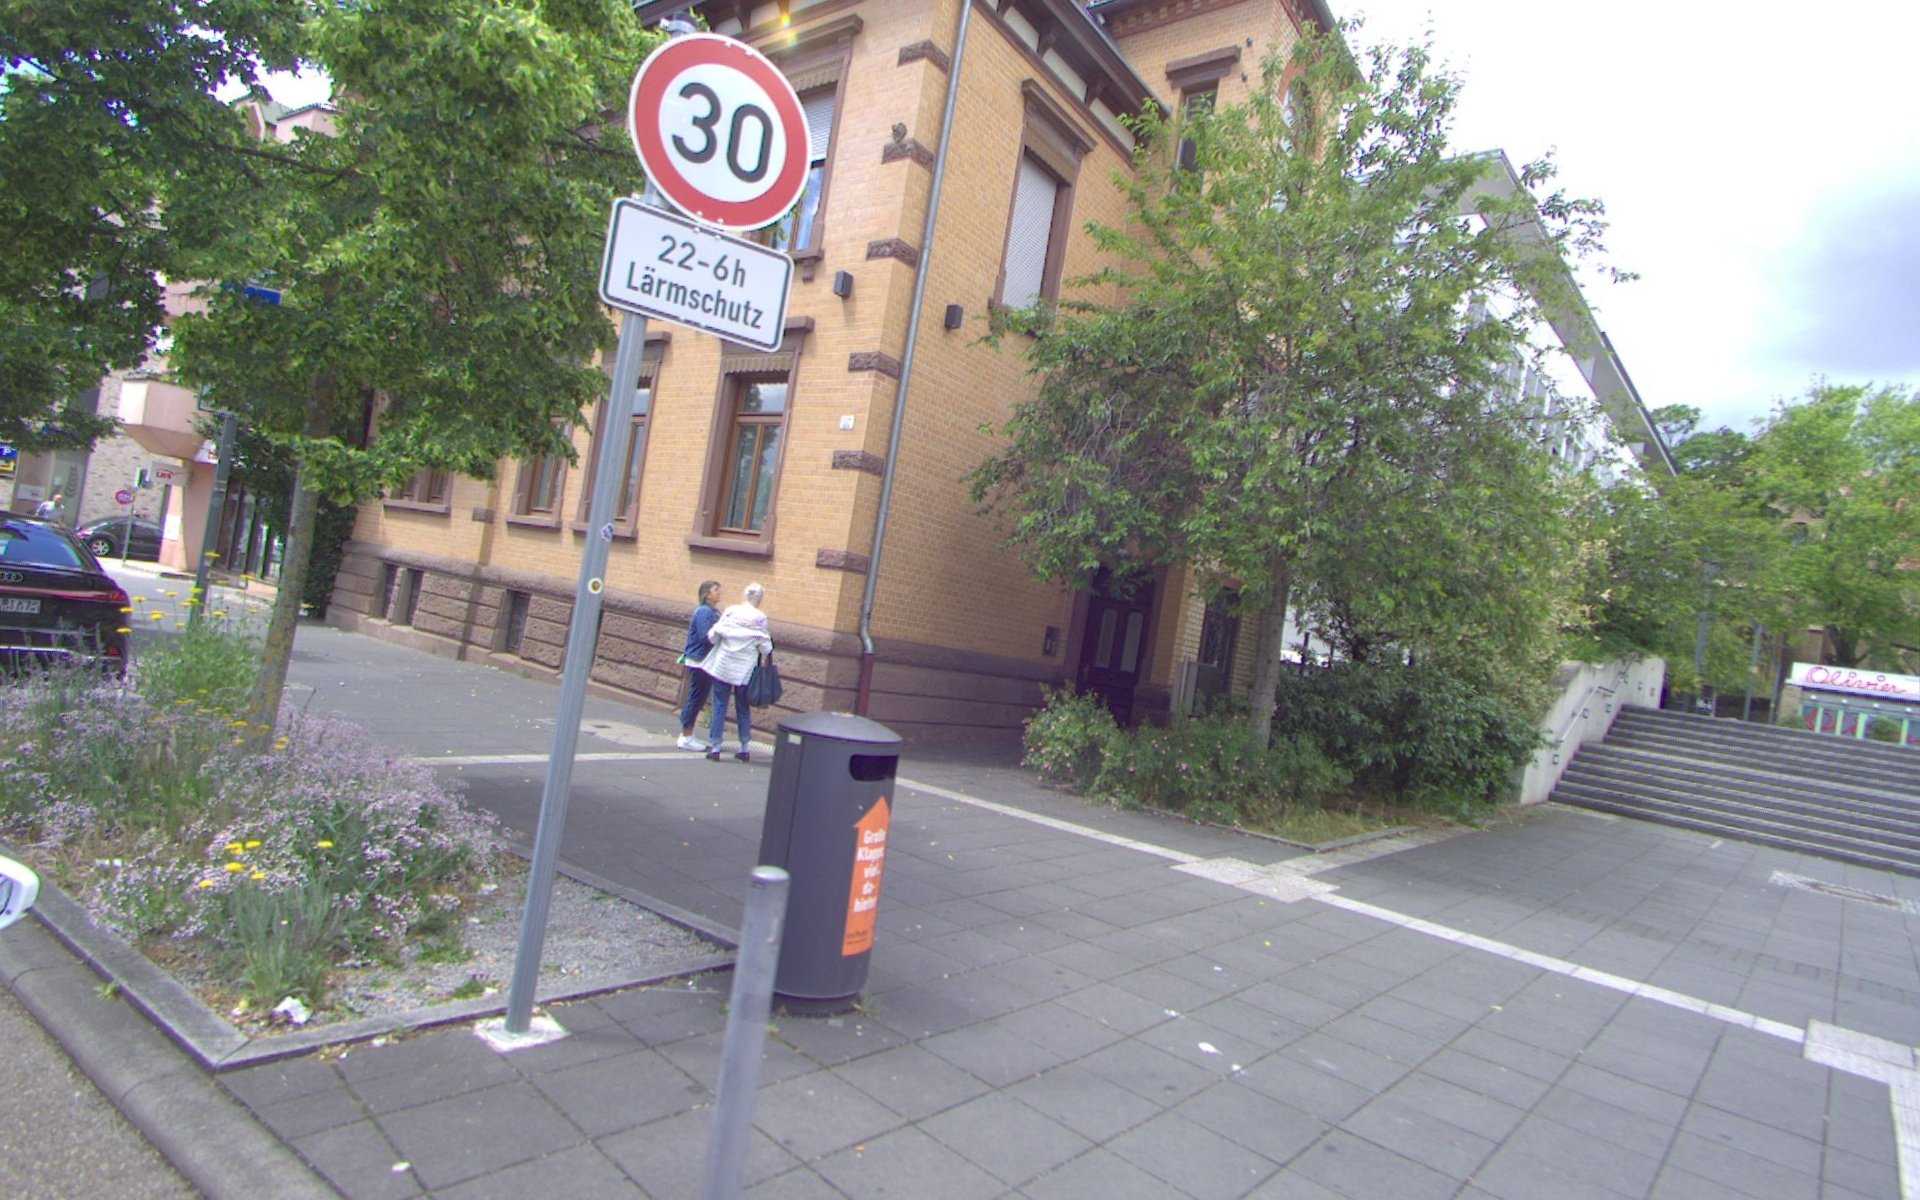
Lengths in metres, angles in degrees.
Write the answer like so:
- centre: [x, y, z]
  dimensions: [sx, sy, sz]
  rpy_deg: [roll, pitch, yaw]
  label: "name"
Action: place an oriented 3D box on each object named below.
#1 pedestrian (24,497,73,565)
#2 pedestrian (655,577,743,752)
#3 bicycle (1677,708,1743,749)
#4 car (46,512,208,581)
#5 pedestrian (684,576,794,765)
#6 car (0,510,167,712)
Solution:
- centre: [-24.040, -1.812, 26.541]
  dimensions: [0.688, 1.645, 0.632]
  rpy_deg: [8, -1, 33]
  label: "pedestrian"
- centre: [-2.581, 0.630, 9.952]
  dimensions: [0.502, 1.649, 0.505]
  rpy_deg: [7, 0, -39]
  label: "pedestrian"
- centre: [32.331, 5.512, 43.398]
  dimensions: [1.989, 1.323, 0.688]
  rpy_deg: [11, 1, 15]
  label: "bicycle"
- centre: [-29.916, -1.877, 36.243]
  dimensions: [1.817, 1.582, 3.998]
  rpy_deg: [7, -5, 35]
  label: "car"
- centre: [-2.069, 0.655, 9.463]
  dimensions: [0.664, 1.649, 0.555]
  rpy_deg: [7, 0, 8]
  label: "pedestrian"
- centre: [-8.696, -0.093, 8.646]
  dimensions: [4.308, 1.422, 1.857]
  rpy_deg: [7, -1, 38]
  label: "car"
